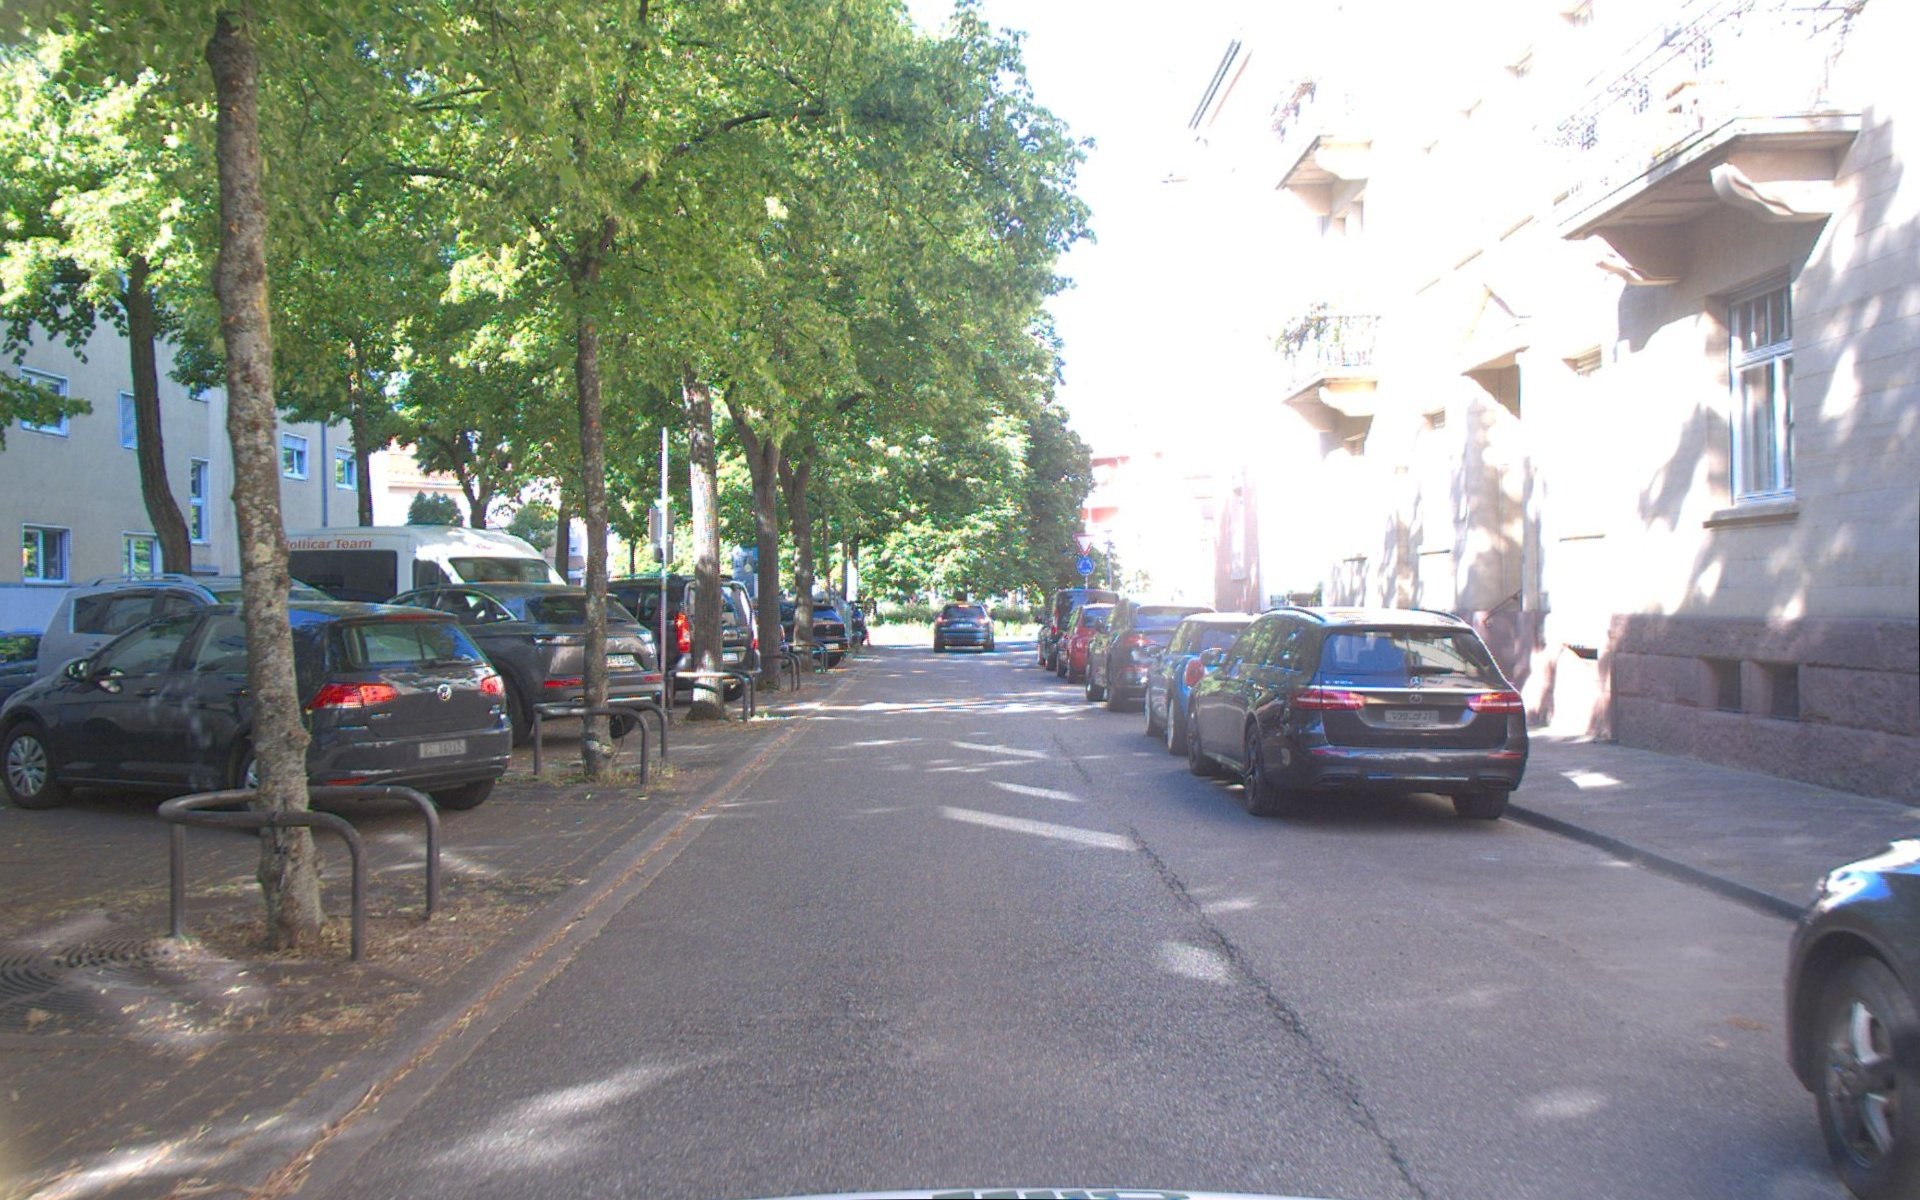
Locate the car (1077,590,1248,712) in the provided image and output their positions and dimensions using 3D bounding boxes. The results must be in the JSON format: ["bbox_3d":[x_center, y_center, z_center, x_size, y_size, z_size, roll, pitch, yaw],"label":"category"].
[{"bbox_3d":[2.968,0.696,25.133,1.827,1.672,4.489,0,0,-3],"label":"car"}]

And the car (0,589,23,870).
[{"bbox_3d":[-7.462,0.803,9.575,3.830,1.583,1.843,-2,1,30],"label":"car"}]

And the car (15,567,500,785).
[{"bbox_3d":[-6.641,0.673,15.585,4.294,1.808,1.897,-1,-1,27],"label":"car"}]

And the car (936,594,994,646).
[{"bbox_3d":[0.187,0.578,50.163,1.679,1.509,4.145,0,0,1],"label":"car"}]

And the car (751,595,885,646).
[{"bbox_3d":[-4.398,0.640,50.927,4.065,1.507,1.767,-1,-1,40],"label":"car"}]

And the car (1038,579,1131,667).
[{"bbox_3d":[2.878,0.502,39.026,1.765,1.903,4.272,2,0,-1],"label":"car"}]

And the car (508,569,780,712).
[{"bbox_3d":[-4.682,0.557,24.368,3.773,1.921,1.837,-1,1,35],"label":"car"}]

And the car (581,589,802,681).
[{"bbox_3d":[-4.896,0.621,30.351,3.646,1.609,1.638,0,0,12],"label":"car"}]

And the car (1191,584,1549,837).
[{"bbox_3d":[3.000,0.709,13.048,1.768,1.591,4.321,-2,1,1],"label":"car"}]

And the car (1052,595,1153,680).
[{"bbox_3d":[2.841,0.711,33.682,1.612,1.564,3.999,2,0,-1],"label":"car"}]

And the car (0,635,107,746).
[{"bbox_3d":[-15.334,1.404,25.792,1.736,1.543,4.591,1,1,-1],"label":"car"}]

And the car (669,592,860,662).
[{"bbox_3d":[-4.183,0.583,35.891,4.008,1.492,1.865,0,-1,-4],"label":"car"}]

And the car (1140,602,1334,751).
[{"bbox_3d":[2.950,0.766,18.226,1.557,1.440,3.632,0,0,1],"label":"car"}]

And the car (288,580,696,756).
[{"bbox_3d":[-4.975,0.635,17.476,4.180,1.670,1.653,1,0,28],"label":"car"}]

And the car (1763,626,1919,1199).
[{"bbox_3d":[3.152,0.834,2.765,1.657,1.493,4.004,0,0,-1],"label":"car"}]

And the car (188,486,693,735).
[{"bbox_3d":[-6.910,0.198,22.200,5.937,2.668,2.457,-5,-2,15],"label":"car"}]

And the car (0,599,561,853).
[{"bbox_3d":[-4.925,0.777,11.598,4.018,1.507,1.729,-1,0,29],"label":"car"}]
